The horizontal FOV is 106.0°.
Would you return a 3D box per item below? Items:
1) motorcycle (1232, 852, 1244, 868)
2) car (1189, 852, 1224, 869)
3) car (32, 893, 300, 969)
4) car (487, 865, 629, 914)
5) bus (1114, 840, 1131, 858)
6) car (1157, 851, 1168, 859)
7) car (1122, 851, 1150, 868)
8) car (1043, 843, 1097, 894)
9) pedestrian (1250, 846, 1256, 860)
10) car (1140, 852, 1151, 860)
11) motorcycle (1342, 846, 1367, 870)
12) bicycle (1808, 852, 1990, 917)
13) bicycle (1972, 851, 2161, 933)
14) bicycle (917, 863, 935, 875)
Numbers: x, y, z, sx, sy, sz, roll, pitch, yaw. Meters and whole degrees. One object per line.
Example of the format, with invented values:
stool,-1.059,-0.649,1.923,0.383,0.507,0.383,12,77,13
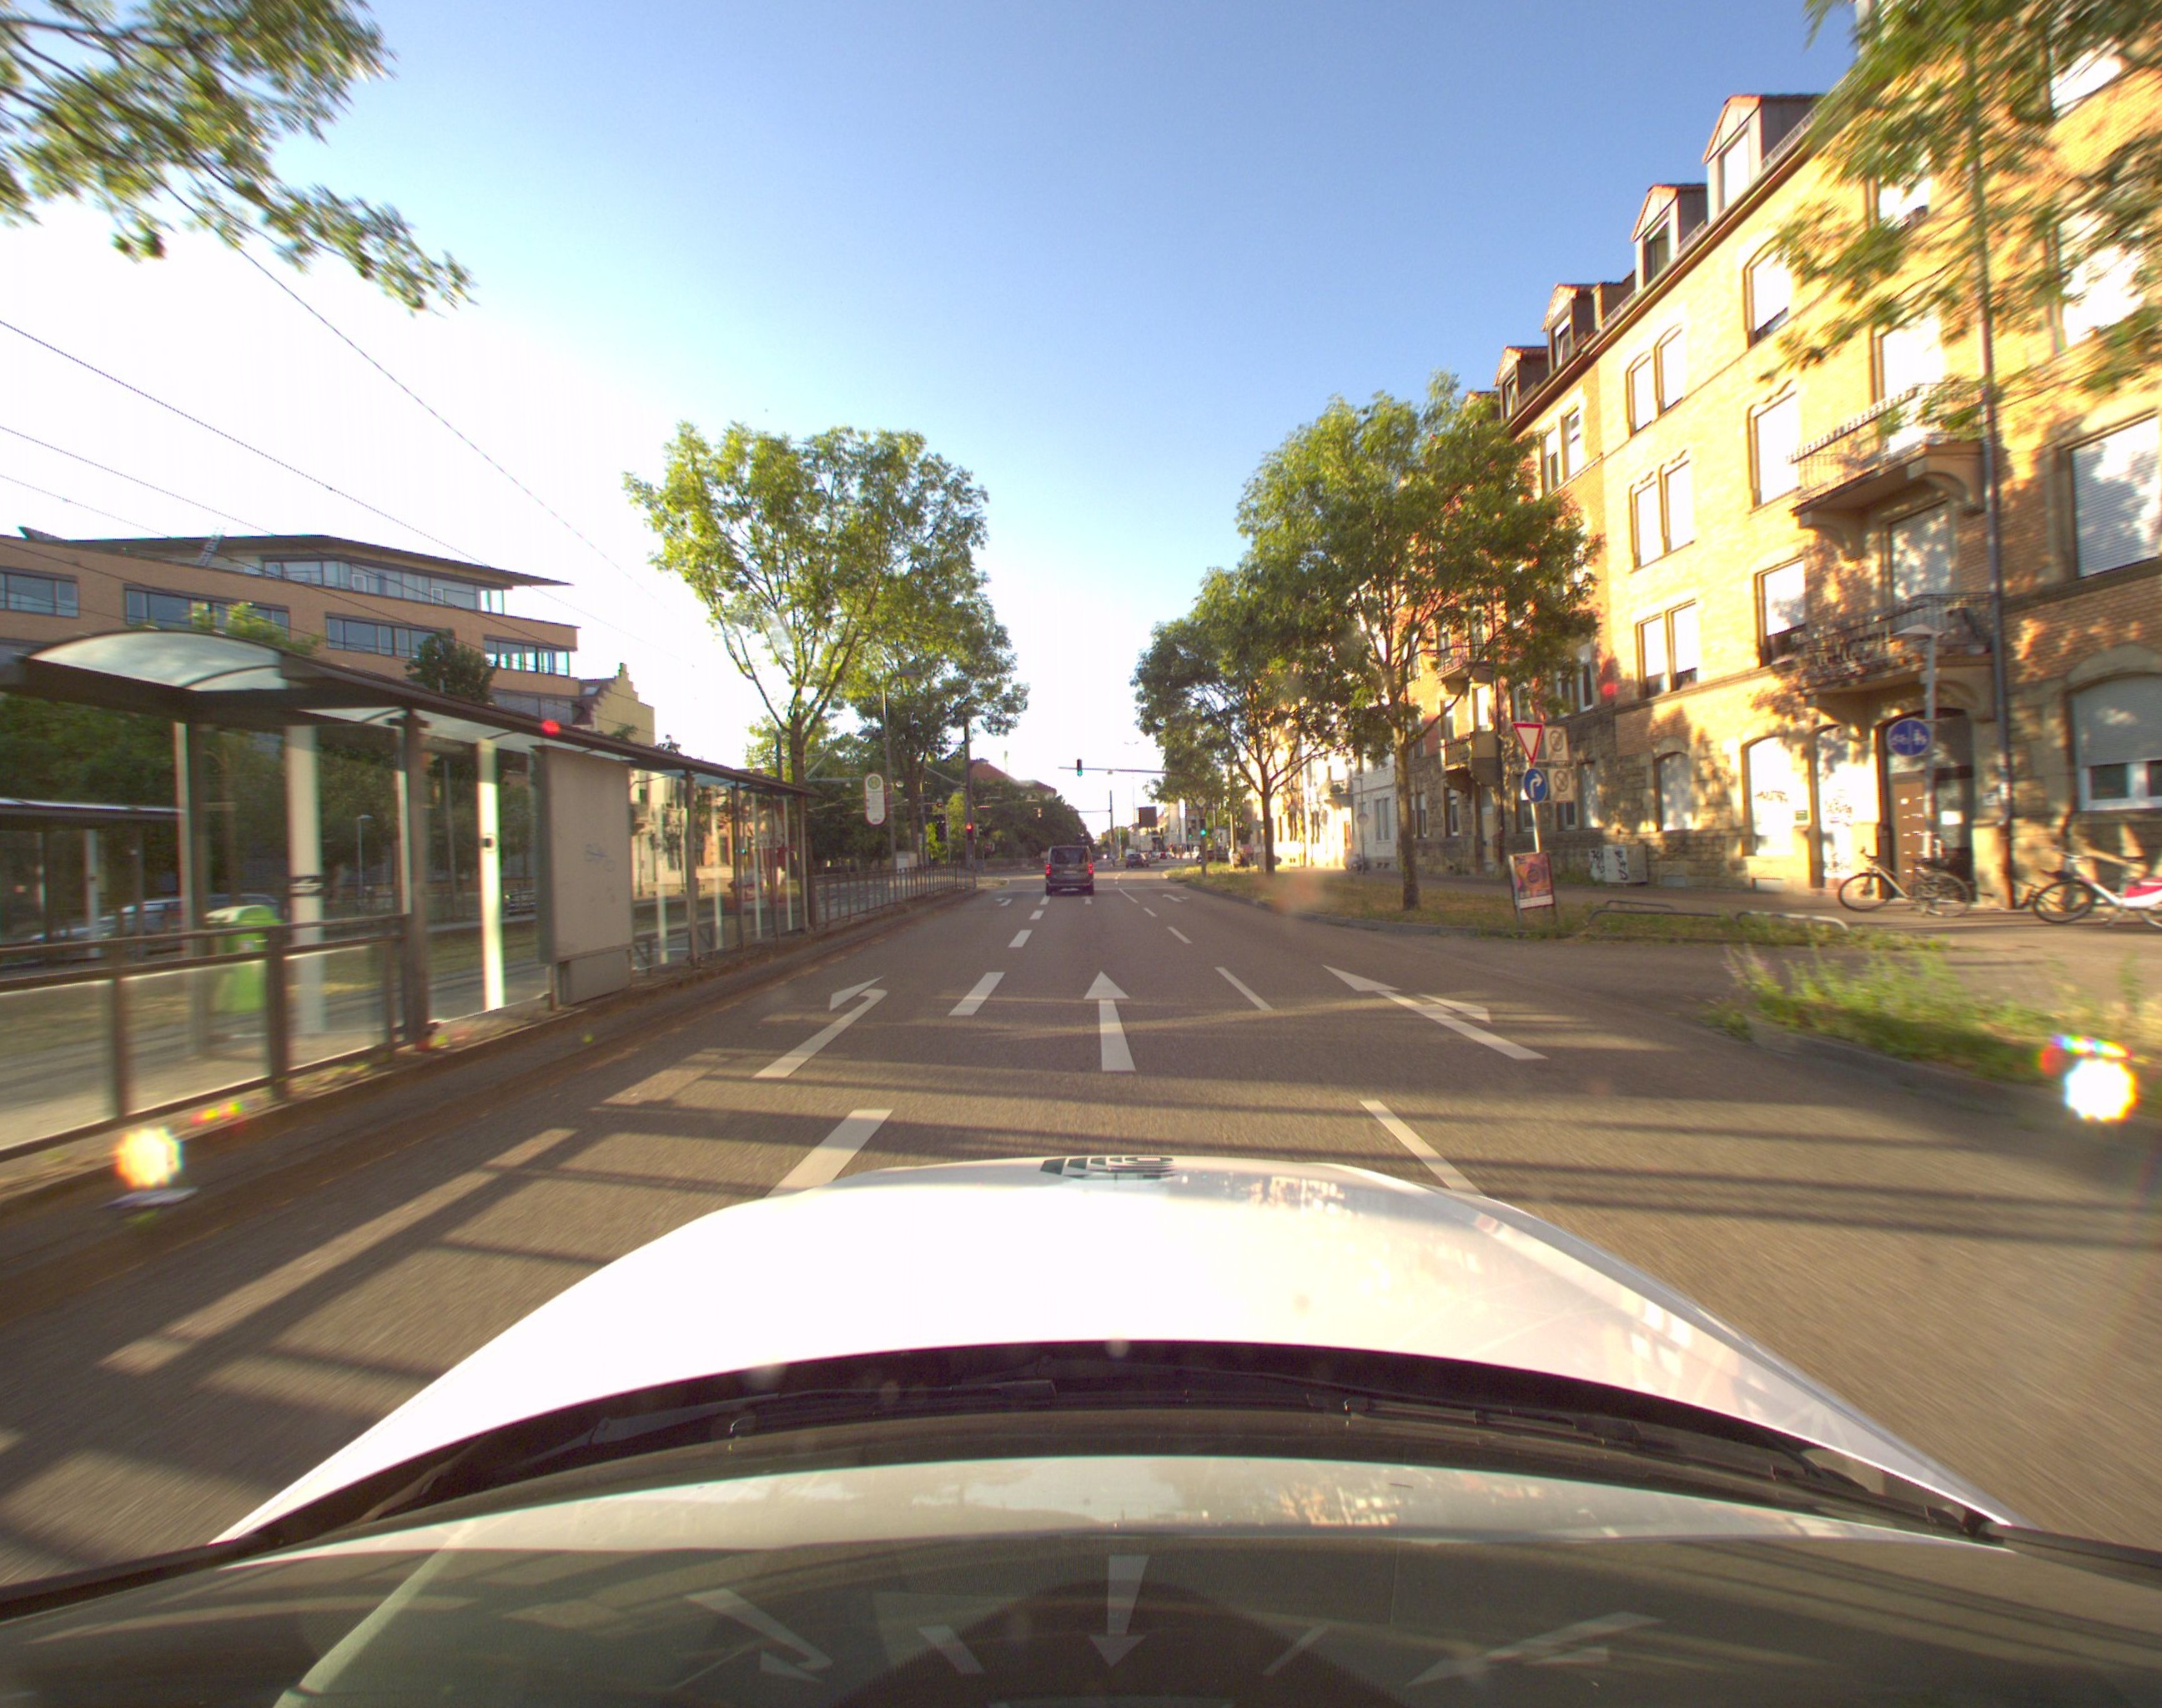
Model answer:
motorcycle,10.454,0.404,54.231,0.601,1.044,1.747,-2,0,6
car,11.639,0.611,75.270,1.975,1.510,4.024,-1,0,27
car,-22.023,1.770,19.929,1.605,1.413,4.431,-2,0,-2
car,-19.191,1.243,30.198,1.987,1.552,4.894,-2,0,1
bus,11.160,-1.209,219.029,3.283,4.617,9.987,-1,0,-3
car,17.516,0.299,175.663,1.986,1.656,4.300,-2,0,1
car,5.265,0.492,77.836,1.831,1.544,3.647,-2,0,16
car,-0.493,0.536,32.353,1.989,1.901,4.294,0,0,-3
pedestrian,19.658,-0.112,93.117,0.549,1.628,0.701,-2,0,9
car,14.342,0.434,180.859,1.989,1.656,4.294,-2,0,-3
motorcycle,14.289,0.216,42.554,0.552,1.214,2.071,-1,0,-2
bicycle,13.262,0.462,13.327,0.869,0.916,2.085,-4,0,1
bicycle,13.411,0.462,10.773,0.730,0.948,2.341,-3,0,3
bicycle,-15.740,1.530,82.974,1.732,1.142,0.552,-2,0,-43
